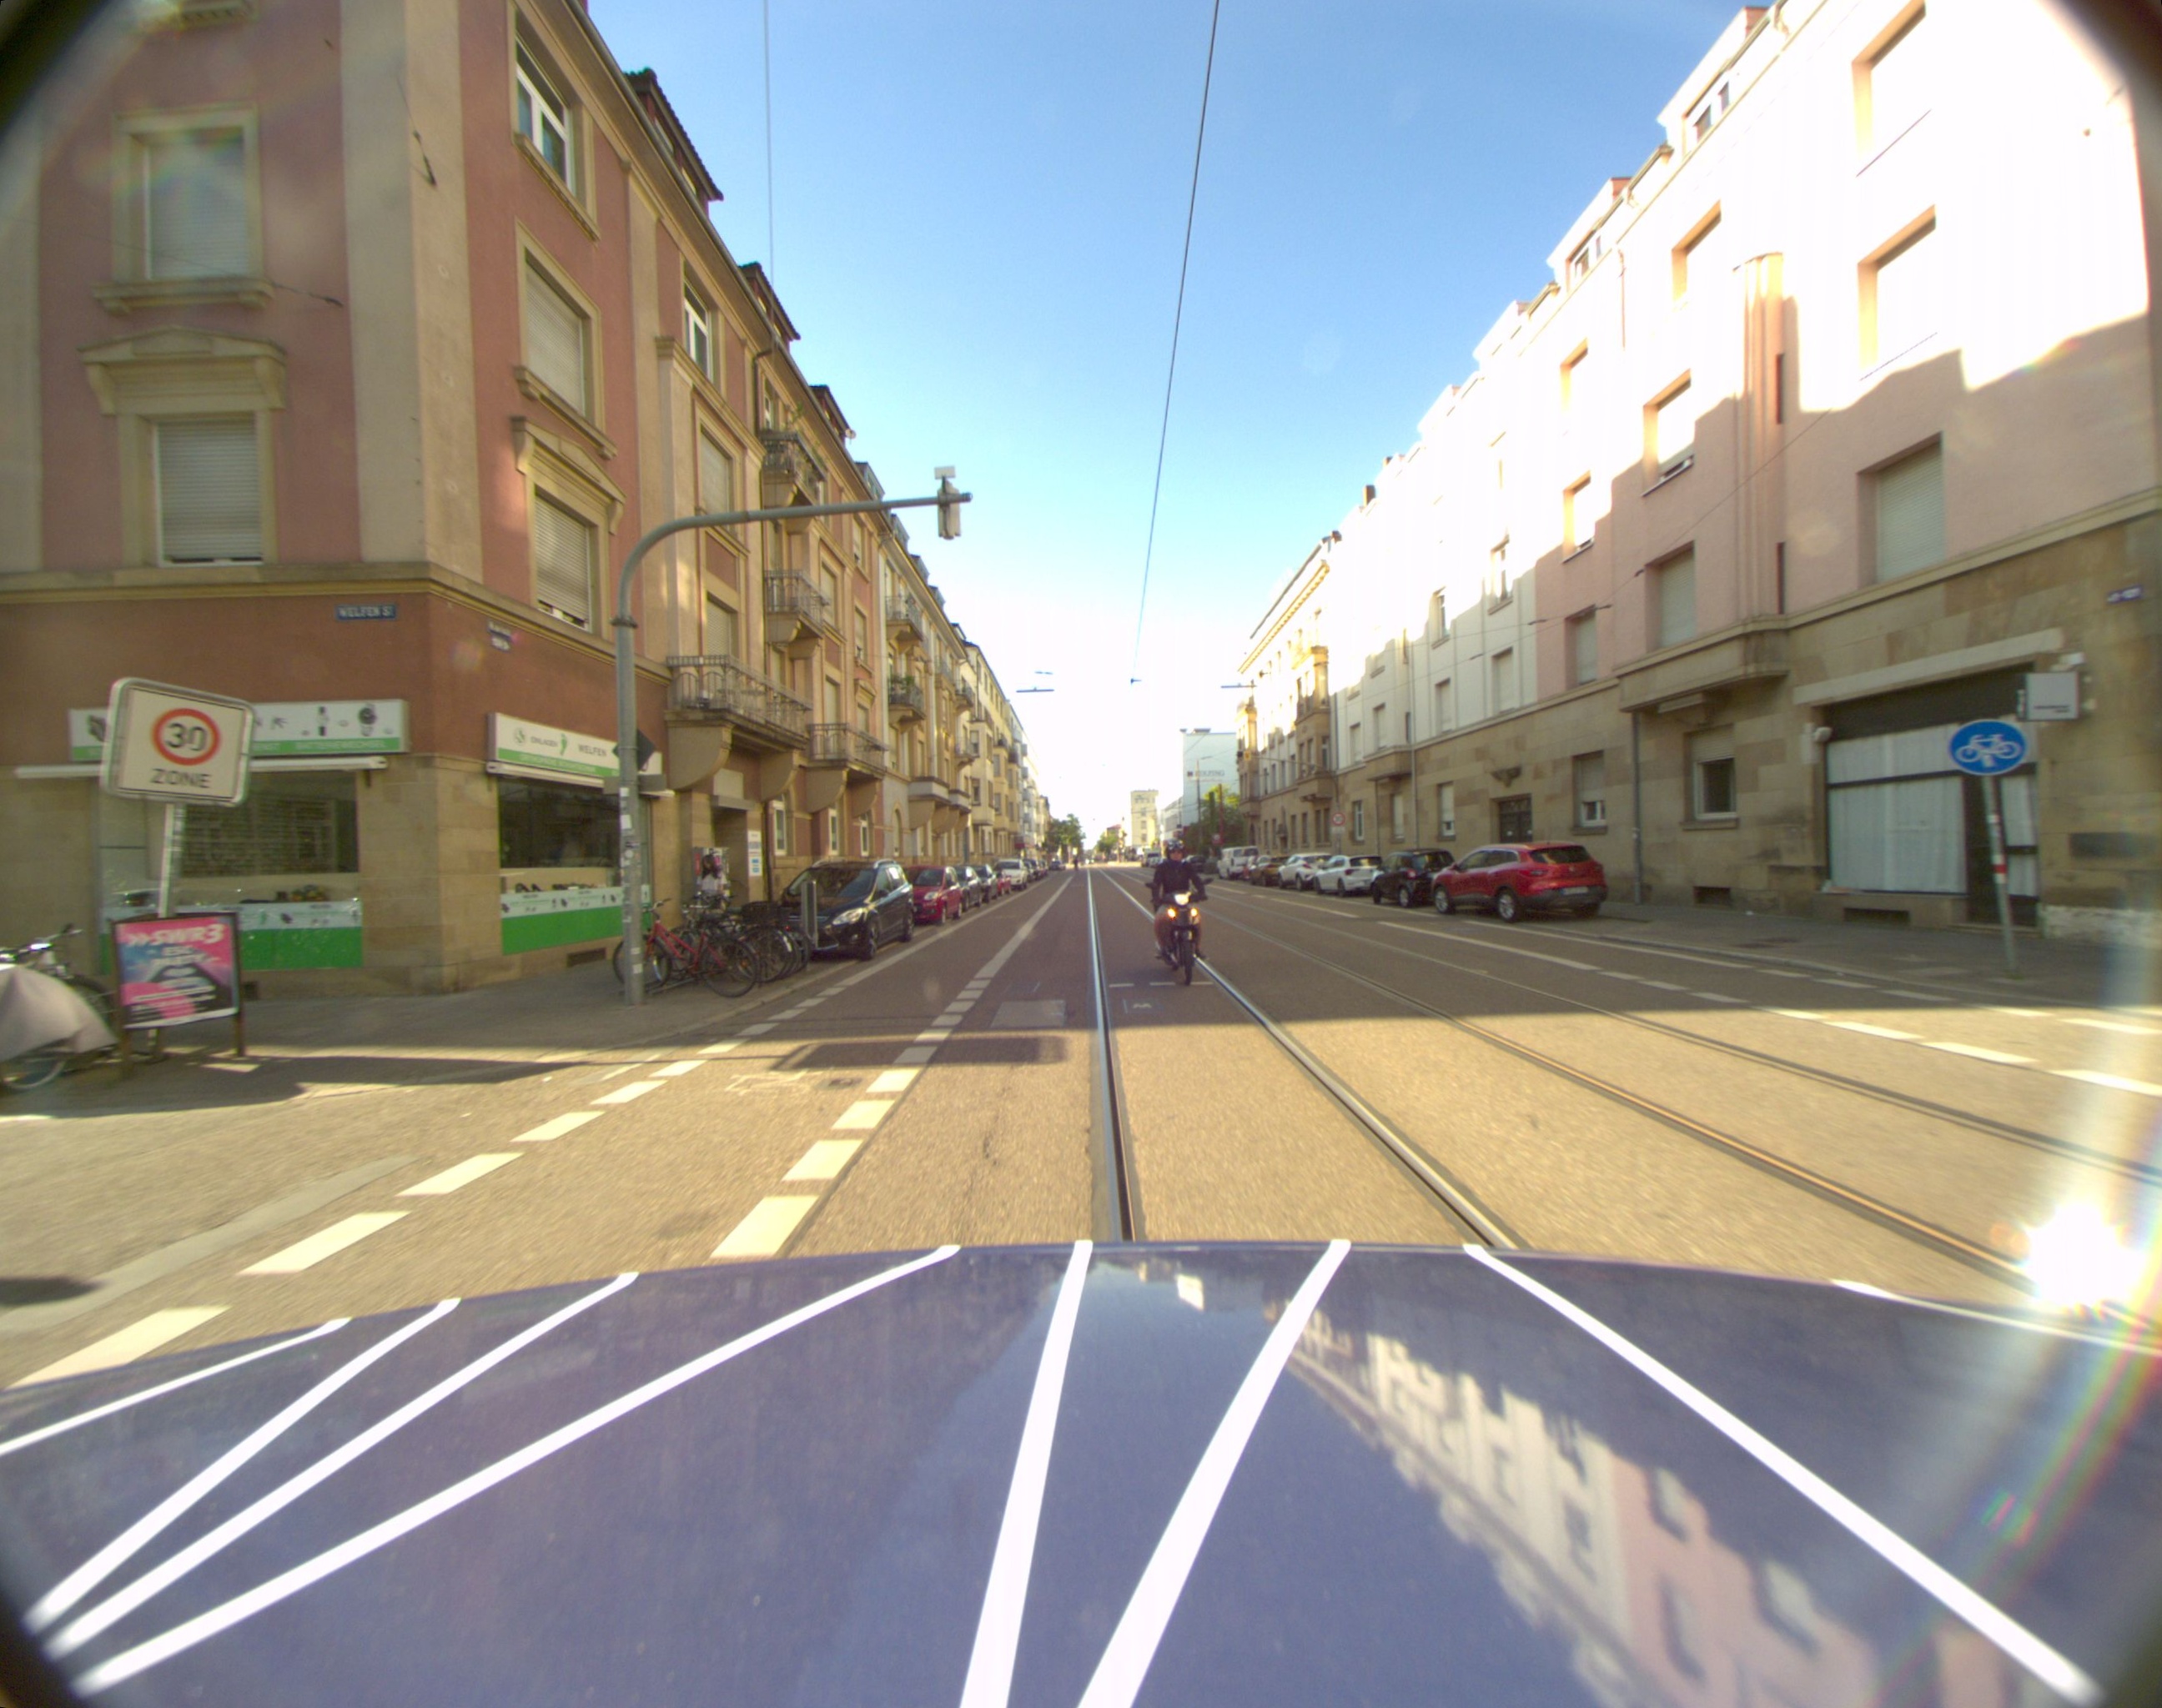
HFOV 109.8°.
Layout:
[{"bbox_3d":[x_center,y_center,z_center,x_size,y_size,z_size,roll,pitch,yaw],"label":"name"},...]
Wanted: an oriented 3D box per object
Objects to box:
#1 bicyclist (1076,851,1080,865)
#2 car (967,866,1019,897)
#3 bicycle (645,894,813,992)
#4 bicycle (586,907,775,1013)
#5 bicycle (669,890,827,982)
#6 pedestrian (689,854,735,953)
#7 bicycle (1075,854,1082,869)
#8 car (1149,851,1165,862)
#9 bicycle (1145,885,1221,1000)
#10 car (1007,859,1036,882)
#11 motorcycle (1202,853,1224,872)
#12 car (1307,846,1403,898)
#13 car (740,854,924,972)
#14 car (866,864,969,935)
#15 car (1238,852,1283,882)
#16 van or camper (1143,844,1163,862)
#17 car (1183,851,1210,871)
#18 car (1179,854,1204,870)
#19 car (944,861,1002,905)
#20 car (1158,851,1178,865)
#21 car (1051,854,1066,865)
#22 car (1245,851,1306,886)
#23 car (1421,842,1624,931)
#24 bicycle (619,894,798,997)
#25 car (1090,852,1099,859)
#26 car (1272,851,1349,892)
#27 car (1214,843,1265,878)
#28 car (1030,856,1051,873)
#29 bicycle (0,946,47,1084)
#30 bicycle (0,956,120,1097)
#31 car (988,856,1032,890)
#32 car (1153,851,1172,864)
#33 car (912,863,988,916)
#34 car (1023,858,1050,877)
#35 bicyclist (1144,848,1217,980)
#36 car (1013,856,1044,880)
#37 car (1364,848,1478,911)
[{"bbox_3d":[-0.348,0.458,88.384,0.509,1.692,0.845,-2,1,0],"label":"bicyclist"},{"bbox_3d":[-4.055,1.246,35.722,1.658,1.242,4.505,-2,0,3],"label":"car"},{"bbox_3d":[-4.635,1.167,10.059,1.964,1.220,0.527,0,1,1],"label":"bicycle"},{"bbox_3d":[-4.667,1.227,8.920,1.928,1.154,0.527,0,1,1],"label":"bicycle"},{"bbox_3d":[-4.634,1.128,10.630,1.964,1.220,0.527,0,1,1],"label":"bicycle"},{"bbox_3d":[-6.391,0.849,13.179,0.514,1.677,0.448,-2,1,0],"label":"pedestrian"},{"bbox_3d":[-0.302,0.868,88.198,0.775,1.700,1.937,-2,0,0],"label":"bicycle"},{"bbox_3d":[10.499,0.285,104.863,1.787,1.390,4.445,-4,0,2],"label":"car"},{"bbox_3d":[1.215,1.030,9.371,0.767,1.191,1.752,-2,1,3],"label":"bicycle"},{"bbox_3d":[-4.042,1.133,52.272,1.742,1.433,4.032,-2,0,-2],"label":"car"},{"bbox_3d":[10.301,0.650,59.205,0.884,1.343,1.961,-2,1,33],"label":"motorcycle"},{"bbox_3d":[9.713,0.603,27.276,1.788,1.612,4.178,-4,0,-1],"label":"car"},{"bbox_3d":[-4.277,0.902,13.855,1.757,1.726,4.506,2,1,1],"label":"car"},{"bbox_3d":[-4.194,1.111,20.115,1.757,1.585,3.730,-2,0,2],"label":"car"},{"bbox_3d":[9.940,0.683,42.274,1.607,1.464,3.646,-4,0,1],"label":"car"},{"bbox_3d":[10.540,-0.176,111.925,2.177,2.453,6.231,-4,0,0],"label":"van or camper"},{"bbox_3d":[9.987,0.548,65.944,1.787,1.556,4.611,-3,0,3],"label":"car"},{"bbox_3d":[10.325,0.721,71.187,1.787,1.306,4.221,-4,0,1],"label":"car"},{"bbox_3d":[-4.187,1.085,30.073,1.658,1.474,4.473,-2,0,0],"label":"car"},{"bbox_3d":[10.260,0.479,89.915,1.787,1.437,4.841,-4,0,1],"label":"car"},{"bbox_3d":[-3.042,0.741,101.744,1.714,1.399,4.358,1,0,2],"label":"car"},{"bbox_3d":[9.555,0.658,37.635,1.788,1.515,4.359,-4,0,0],"label":"car"},{"bbox_3d":[9.431,0.610,16.730,1.788,1.597,4.396,-4,0,-1],"label":"car"},{"bbox_3d":[-4.624,1.128,9.497,1.964,1.220,0.527,0,1,1],"label":"bicycle"},{"bbox_3d":[3.262,0.348,184.643,1.970,1.577,4.000,-2,0,1],"label":"car"},{"bbox_3d":[9.609,0.689,32.187,1.776,1.538,4.365,-4,0,-1],"label":"car"},{"bbox_3d":[9.824,0.397,47.501,1.978,1.937,5.251,-4,0,0],"label":"car"},{"bbox_3d":[-3.880,0.979,73.112,1.722,1.482,4.001,0,0,1],"label":"car"},{"bbox_3d":[-9.542,1.410,5.954,0.469,1.148,1.728,-2,0,0],"label":"bicycle"},{"bbox_3d":[-9.030,1.458,6.069,0.469,1.043,1.728,-2,0,0],"label":"bicycle"},{"bbox_3d":[-3.780,0.993,41.284,1.847,1.681,4.504,-2,0,1],"label":"car"},{"bbox_3d":[10.266,0.377,95.827,1.788,1.472,4.699,-4,0,0],"label":"car"},{"bbox_3d":[-4.221,1.095,25.121,1.658,1.504,4.474,-2,0,1],"label":"car"},{"bbox_3d":[-3.782,1.126,65.298,1.863,1.447,4.710,-2,0,2],"label":"car"},{"bbox_3d":[1.204,0.704,9.360,0.774,1.531,0.939,-2,1,3],"label":"bicyclist"},{"bbox_3d":[-3.969,1.013,58.072,1.863,1.656,4.562,-2,0,2],"label":"car"},{"bbox_3d":[9.381,0.651,21.228,1.787,1.544,3.019,-4,0,1],"label":"car"}]
